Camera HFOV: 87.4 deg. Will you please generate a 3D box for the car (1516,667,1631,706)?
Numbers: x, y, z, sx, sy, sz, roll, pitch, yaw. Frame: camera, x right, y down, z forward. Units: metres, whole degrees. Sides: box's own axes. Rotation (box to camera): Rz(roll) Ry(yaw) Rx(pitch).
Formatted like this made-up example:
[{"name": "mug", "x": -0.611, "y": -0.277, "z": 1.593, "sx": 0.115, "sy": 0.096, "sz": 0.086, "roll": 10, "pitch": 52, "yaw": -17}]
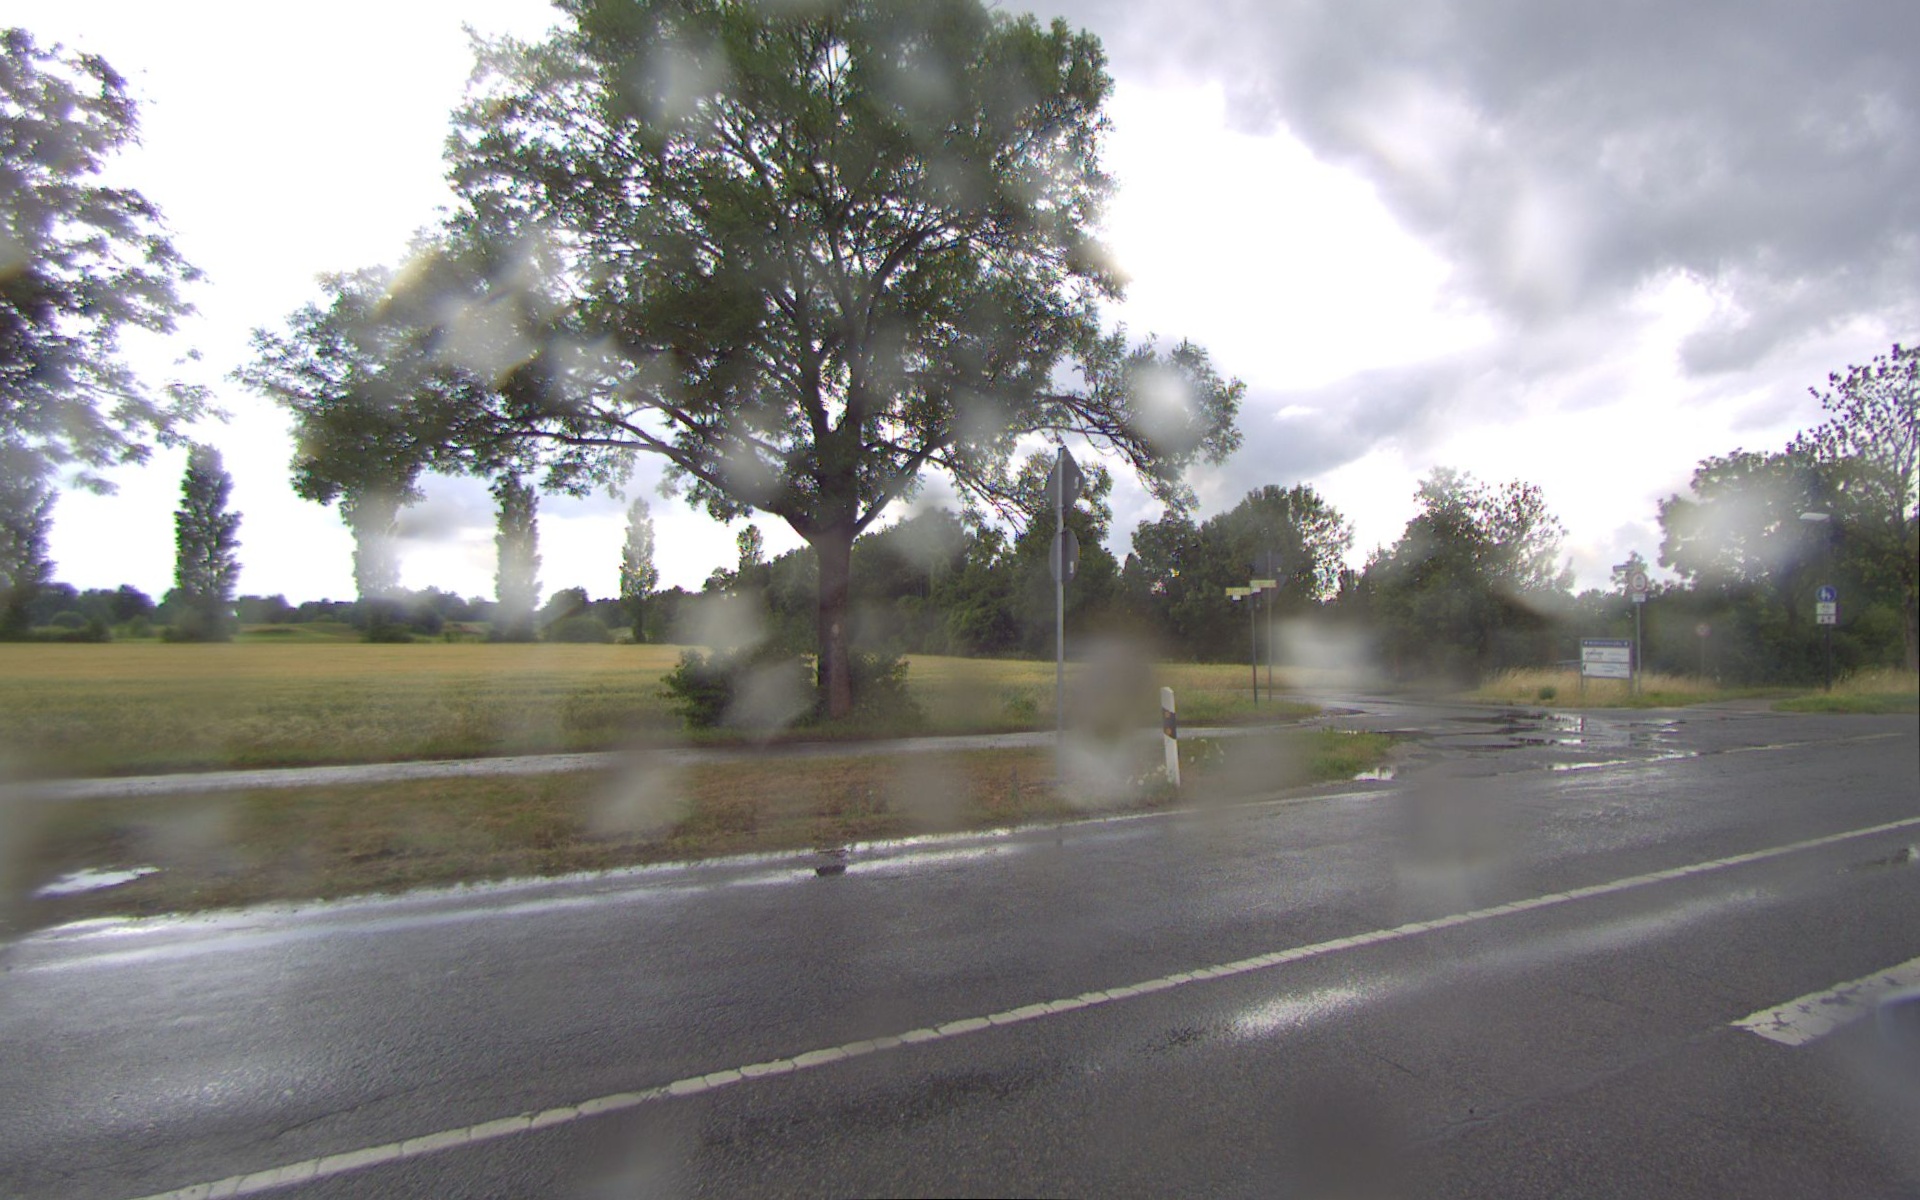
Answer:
[{"name": "car", "x": 28.477, "y": 4.003, "z": 46.666, "sx": 4.565, "sy": 1.568, "sz": 2.297, "roll": 2, "pitch": 0, "yaw": -22}]
